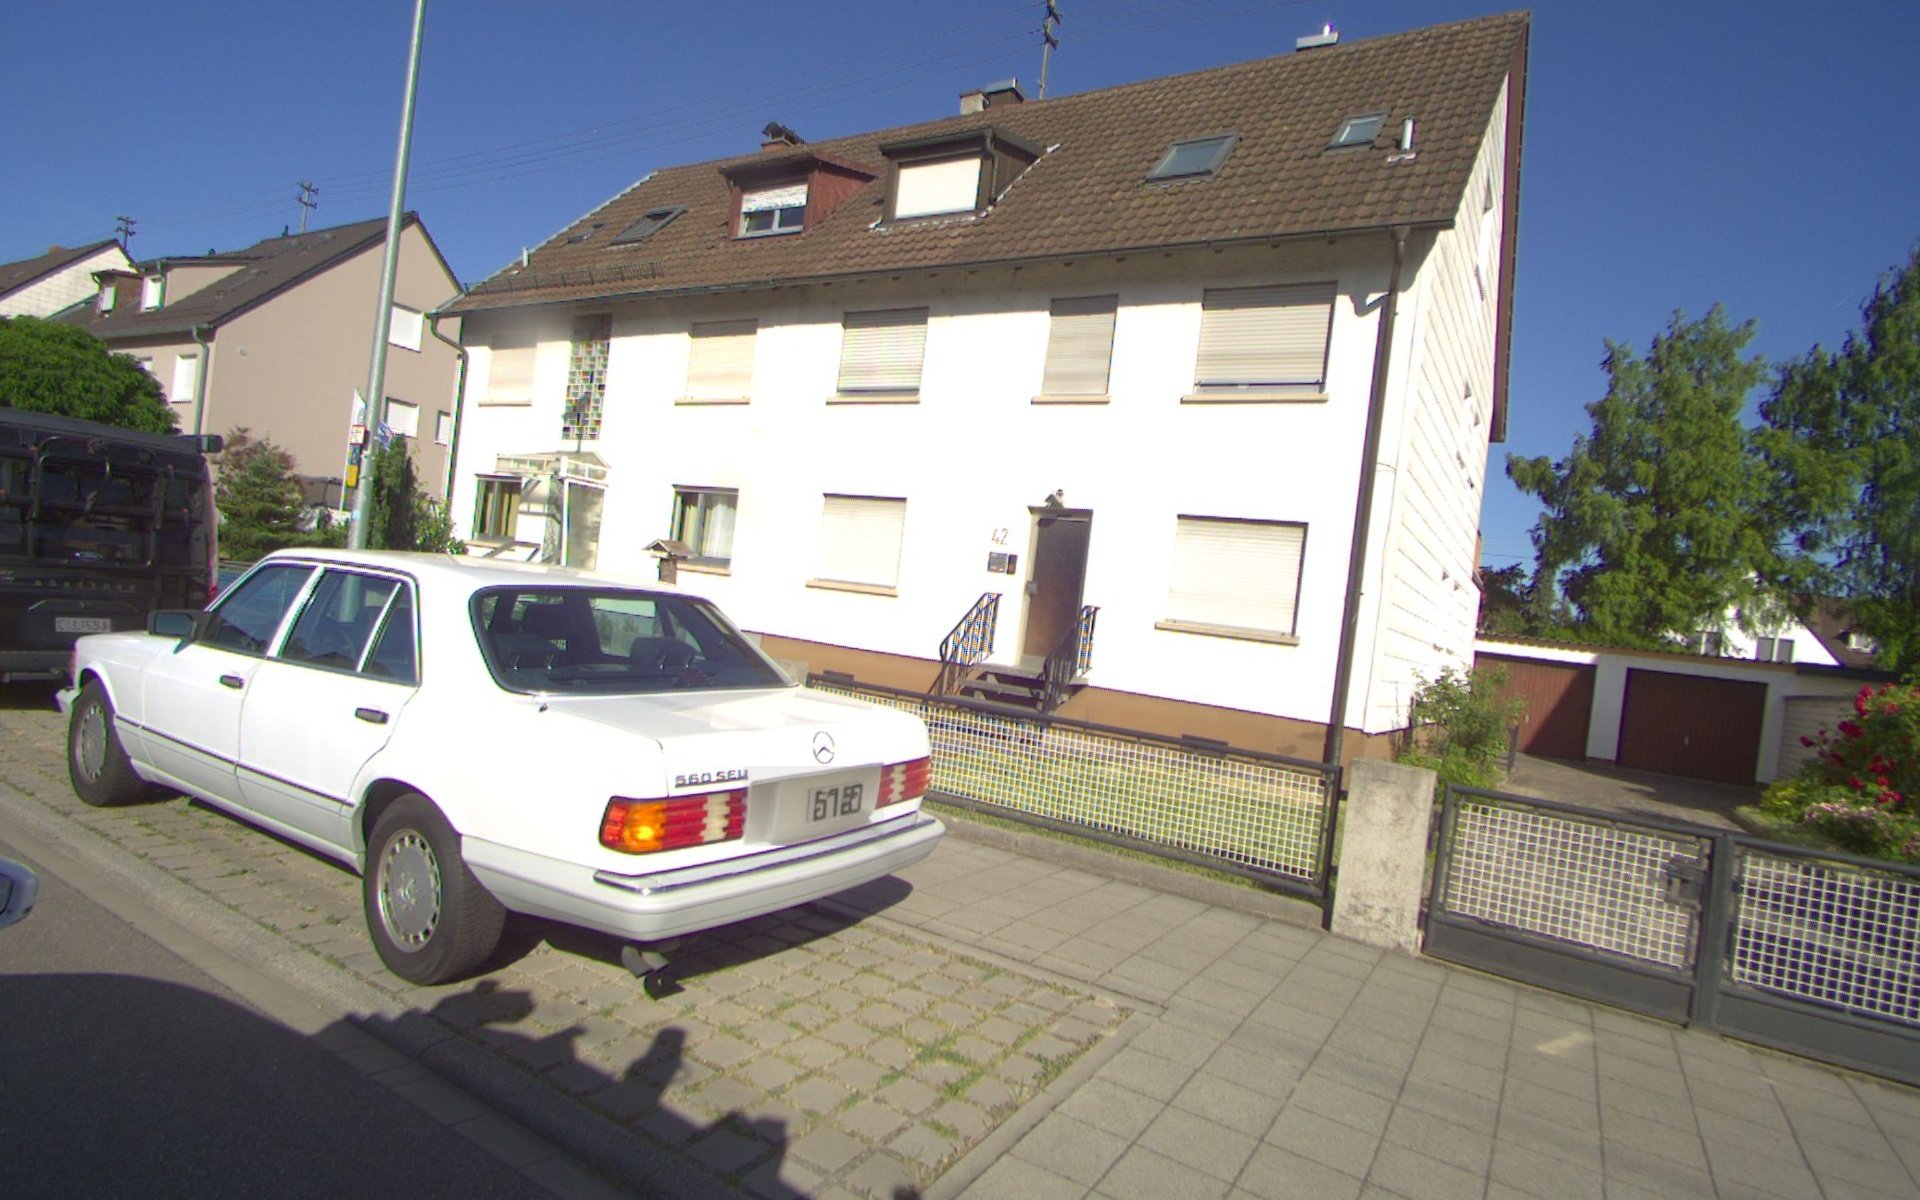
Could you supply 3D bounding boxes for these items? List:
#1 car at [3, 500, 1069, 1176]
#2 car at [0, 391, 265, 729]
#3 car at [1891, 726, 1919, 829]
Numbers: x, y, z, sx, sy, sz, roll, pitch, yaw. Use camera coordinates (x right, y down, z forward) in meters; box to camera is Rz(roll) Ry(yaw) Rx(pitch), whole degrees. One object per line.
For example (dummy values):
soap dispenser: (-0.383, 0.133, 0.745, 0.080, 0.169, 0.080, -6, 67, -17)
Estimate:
car: (-2.426, 0.500, 4.809, 5.522, 1.462, 1.853, 7, 1, 33)
car: (-8.152, -0.463, 8.264, 5.247, 2.171, 1.961, 6, 0, 32)
car: (16.255, 2.967, 15.543, 1.783, 1.638, 3.819, 7, -1, 30)
